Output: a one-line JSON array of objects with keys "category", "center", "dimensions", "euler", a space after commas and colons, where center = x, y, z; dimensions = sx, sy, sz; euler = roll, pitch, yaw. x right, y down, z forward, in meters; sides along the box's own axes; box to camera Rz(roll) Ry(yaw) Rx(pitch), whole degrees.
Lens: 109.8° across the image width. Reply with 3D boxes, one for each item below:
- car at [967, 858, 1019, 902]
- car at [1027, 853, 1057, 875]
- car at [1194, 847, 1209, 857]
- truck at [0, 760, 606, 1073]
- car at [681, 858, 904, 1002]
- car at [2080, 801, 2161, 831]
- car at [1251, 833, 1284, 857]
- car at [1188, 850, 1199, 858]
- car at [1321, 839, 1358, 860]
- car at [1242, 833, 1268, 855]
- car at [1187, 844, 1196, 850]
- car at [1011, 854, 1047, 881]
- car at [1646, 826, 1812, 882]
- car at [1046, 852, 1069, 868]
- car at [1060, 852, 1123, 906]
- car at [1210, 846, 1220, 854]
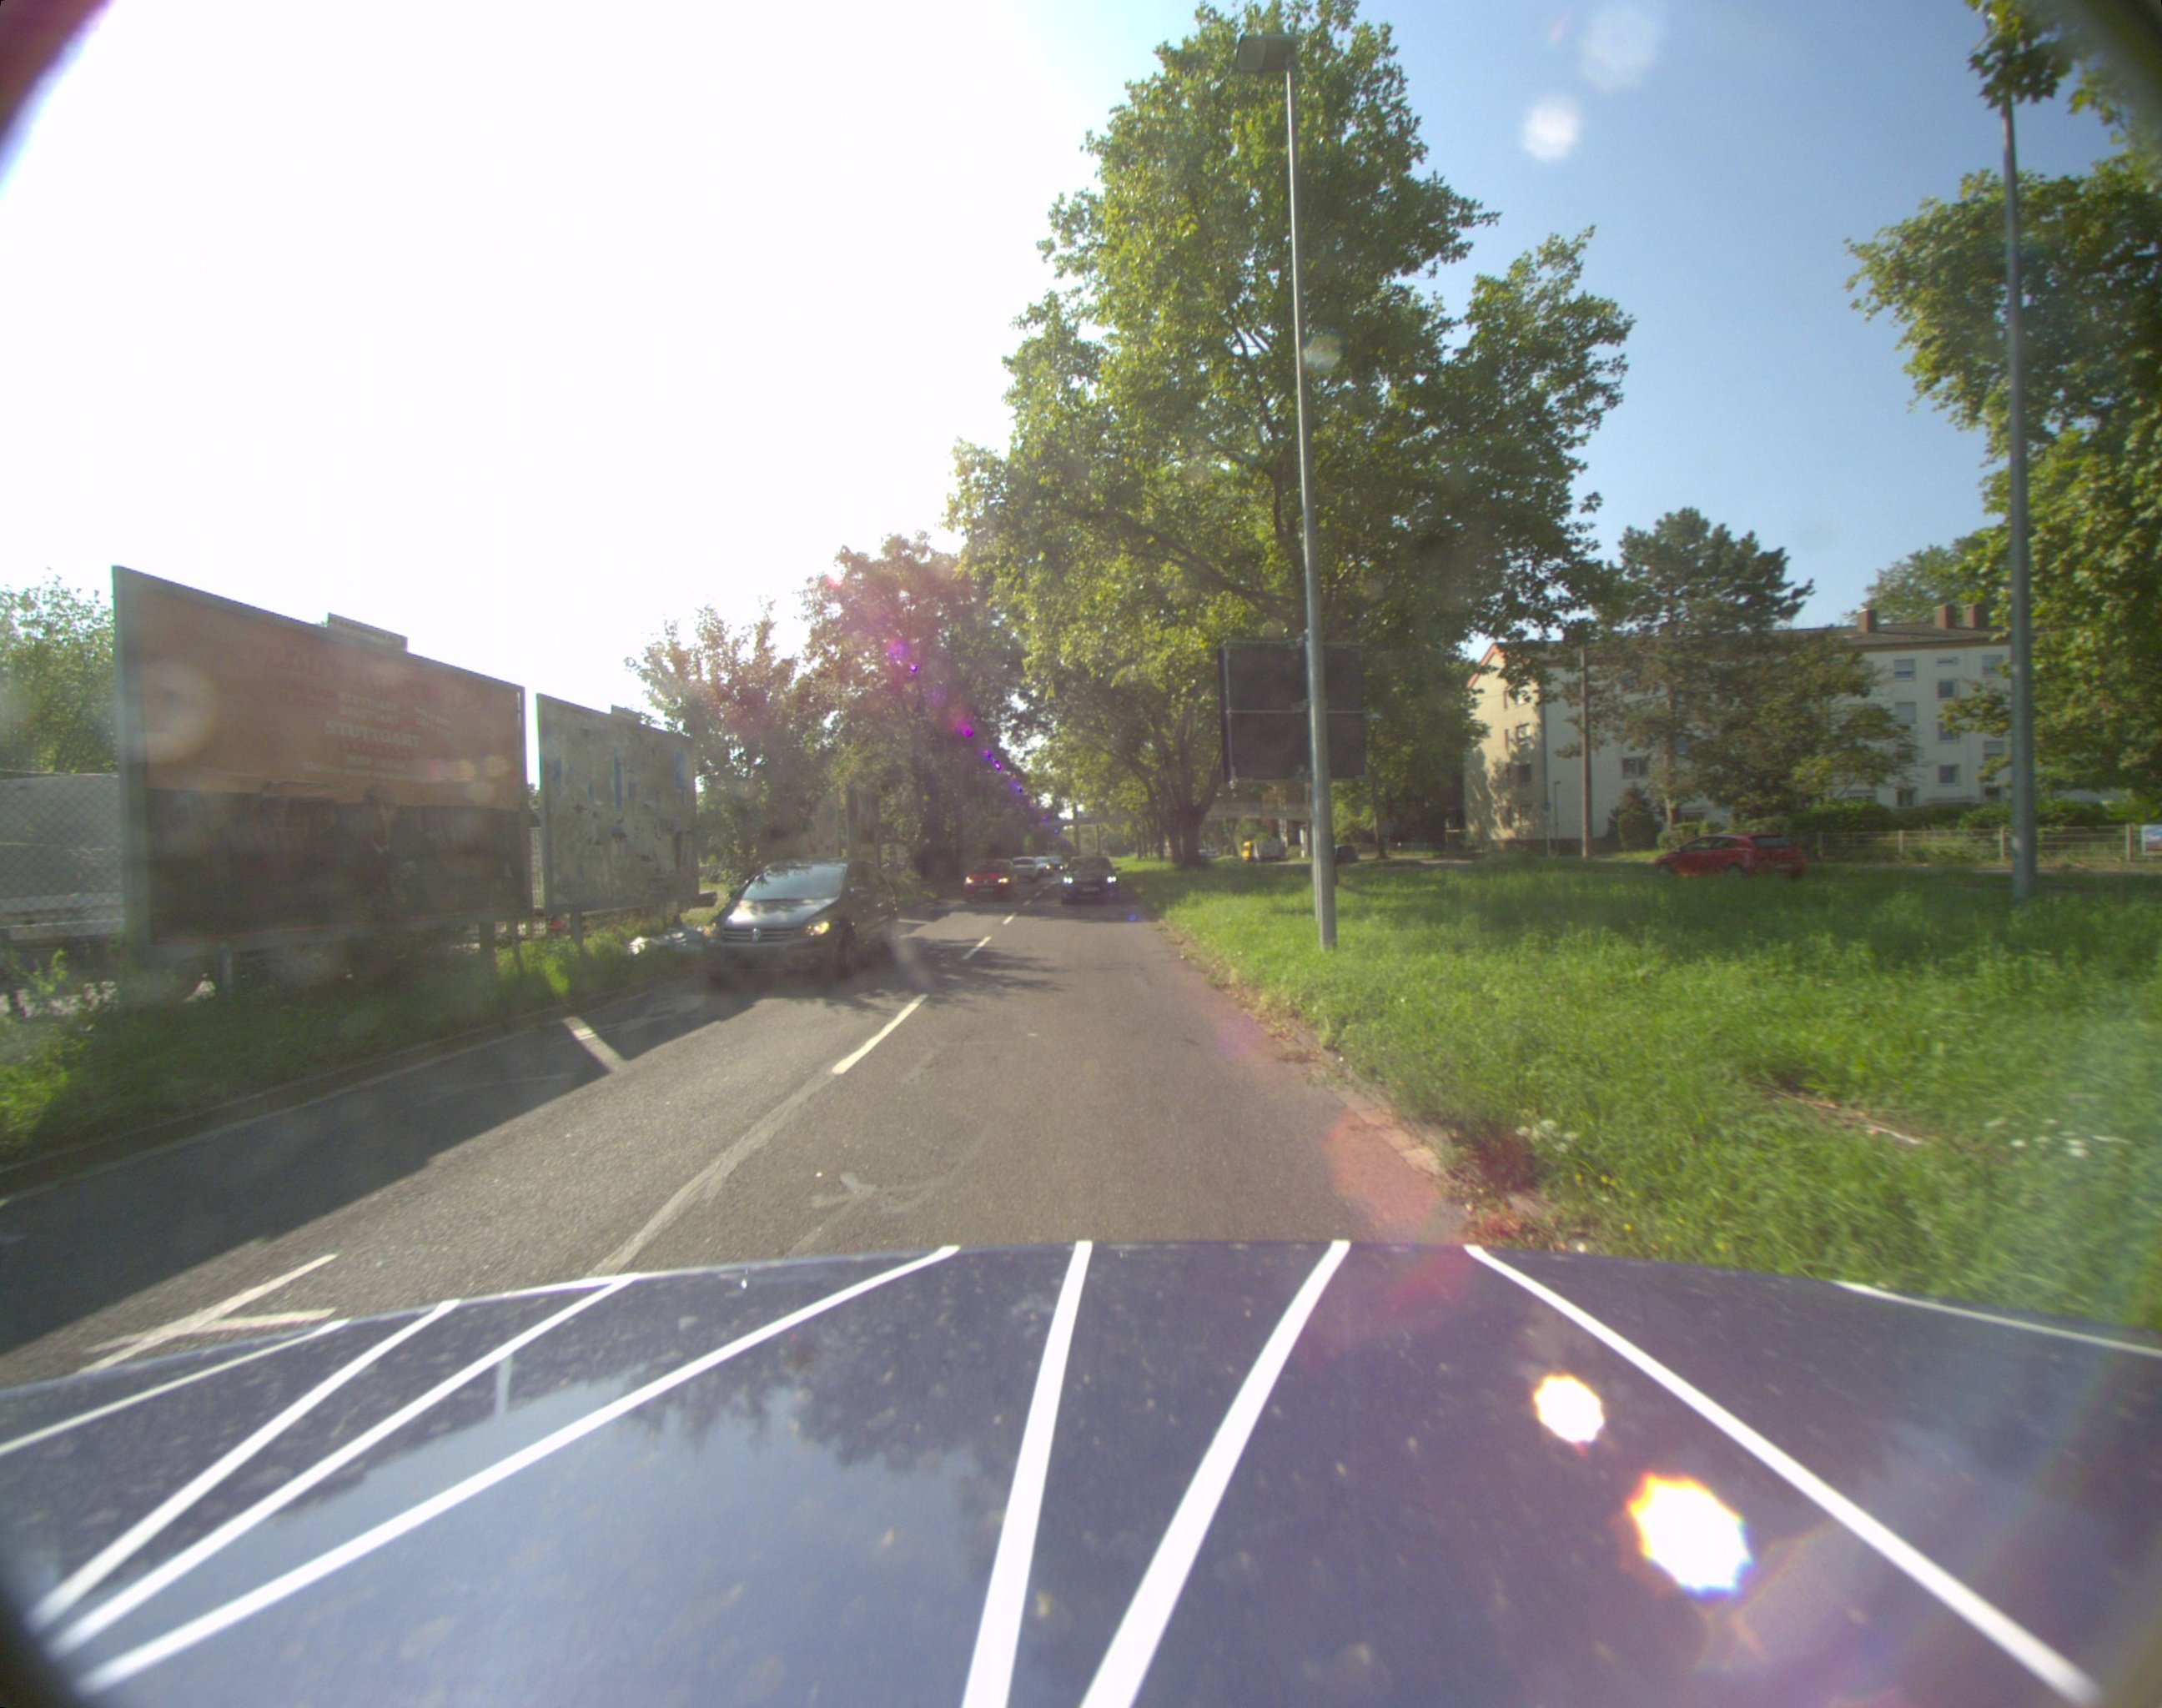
[{"category": "car", "center": [-3.101, 0.885, 27.294], "dimensions": [1.579, 1.390, 3.470], "euler": [-1, 1, -2]}, {"category": "car", "center": [-2.855, 0.753, 56.938], "dimensions": [1.649, 1.467, 3.899], "euler": [-3, 1, 5]}, {"category": "car", "center": [20.393, -0.374, 128.869], "dimensions": [1.806, 1.710, 4.720], "euler": [-2, 0, 1]}, {"category": "truck", "center": [-8.576, 0.437, 8.533], "dimensions": [1.919, 2.220, 6.912], "euler": [-3, 1, 1]}, {"category": "car", "center": [-3.816, 0.901, 10.824], "dimensions": [1.649, 1.548, 3.898], "euler": [-2, 1, 0]}, {"category": "car", "center": [50.201, -1.789, 35.564], "dimensions": [1.652, 1.324, 4.000], "euler": [-3, 1, 2]}, {"category": "car", "center": [20.823, -1.062, 85.070], "dimensions": [2.213, 2.416, 6.265], "euler": [-5, 1, 3]}, {"category": "car", "center": [22.197, 0.045, 149.904], "dimensions": [1.695, 1.524, 4.069], "euler": [-2, 1, 0]}, {"category": "car", "center": [19.843, -0.353, 58.377], "dimensions": [1.526, 1.524, 3.863], "euler": [-2, 1, 1]}, {"category": "car", "center": [21.247, -1.210, 93.006], "dimensions": [2.212, 2.465, 6.062], "euler": [-3, 1, 5]}, {"category": "car", "center": [26.960, -1.720, 186.226], "dimensions": [1.791, 1.524, 4.456], "euler": [-3, 1, 4]}, {"category": "car", "center": [-3.201, 0.791, 47.193], "dimensions": [1.649, 1.467, 3.899], "euler": [-3, 1, 4]}, {"category": "car", "center": [19.119, -0.034, 22.689], "dimensions": [1.542, 1.443, 4.064], "euler": [-3, 1, 1]}, {"category": "car", "center": [-2.169, 0.565, 71.999], "dimensions": [1.649, 1.378, 3.899], "euler": [-3, 1, 5]}, {"category": "car", "center": [0.281, 0.742, 24.595], "dimensions": [1.863, 1.572, 3.611], "euler": [-2, 1, -1]}, {"category": "car", "center": [26.946, -0.780, 153.186], "dimensions": [1.649, 1.471, 3.899], "euler": [-3, 1, 5]}]
